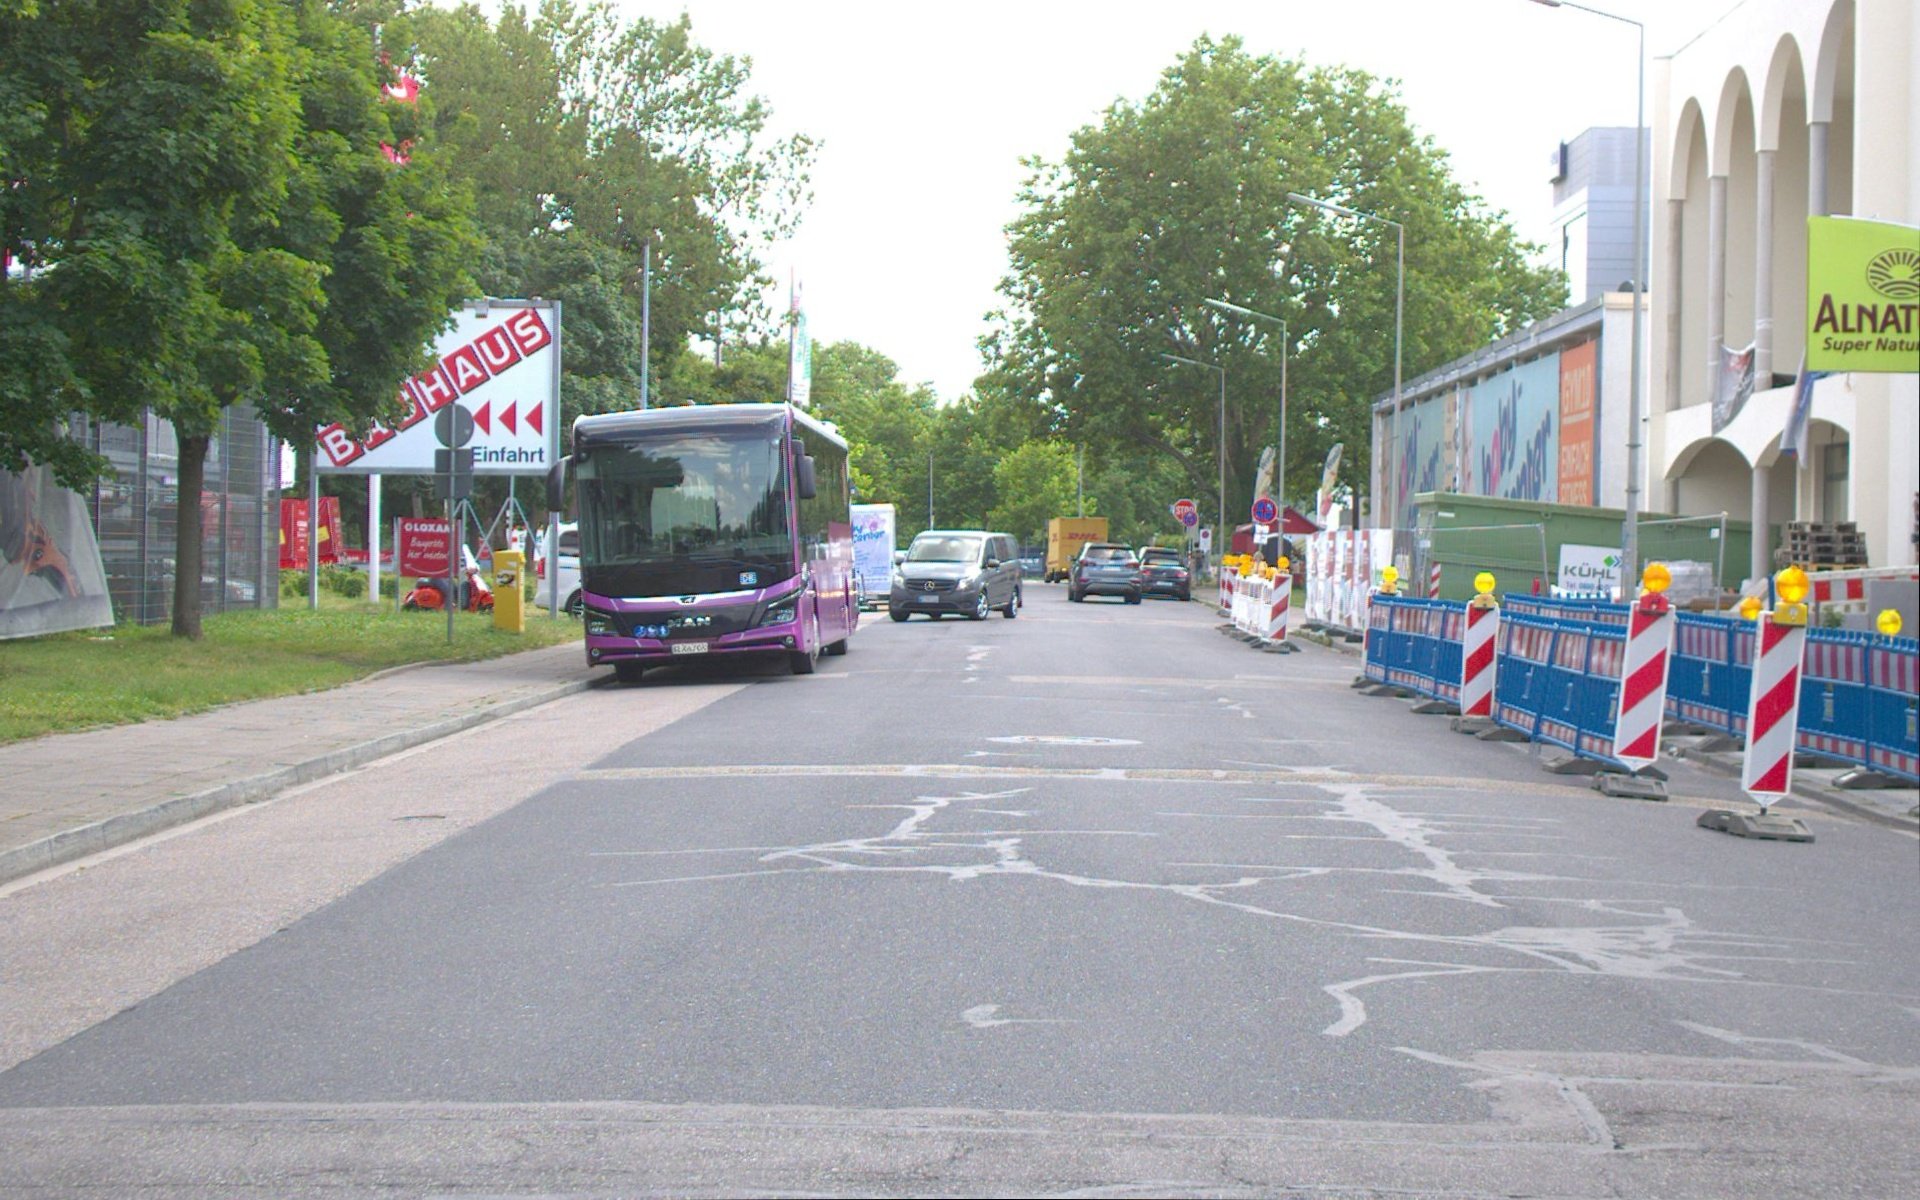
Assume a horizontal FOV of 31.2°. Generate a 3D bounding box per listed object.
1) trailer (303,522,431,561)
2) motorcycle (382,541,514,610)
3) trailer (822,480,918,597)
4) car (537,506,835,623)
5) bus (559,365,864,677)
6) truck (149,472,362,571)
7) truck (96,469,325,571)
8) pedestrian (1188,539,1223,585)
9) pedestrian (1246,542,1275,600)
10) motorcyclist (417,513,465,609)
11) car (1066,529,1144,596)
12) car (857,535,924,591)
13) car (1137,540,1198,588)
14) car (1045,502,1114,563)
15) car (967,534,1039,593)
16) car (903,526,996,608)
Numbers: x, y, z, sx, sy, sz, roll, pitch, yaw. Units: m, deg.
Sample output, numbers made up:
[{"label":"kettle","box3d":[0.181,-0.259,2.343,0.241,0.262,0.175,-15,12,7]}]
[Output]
[{"label":"trailer","box3d":[-19.594,-1.928,113.726,3.818,1.186,1.714,1,2,7]},{"label":"motorcycle","box3d":[-9.282,-0.452,62.363,2.221,1.209,0.994,1,1,2]},{"label":"trailer","box3d":[-2.197,-1.536,85.344,2.139,2.773,4.703,-1,1,1]},{"label":"car","box3d":[-4.889,-0.654,61.716,5.002,1.942,1.992,1,1,7]},{"label":"bus","box3d":[-2.990,-1.016,45.443,2.663,3.411,13.218,-2,1,1]},{"label":"truck","box3d":[-19.858,-2.208,97.024,5.548,2.585,1.779,1,-1,2]},{"label":"truck","box3d":[-20.431,-2.182,93.850,5.755,2.585,1.815,1,-1,4]},{"label":"pedestrian","box3d":[9.933,-1.538,139.145,1.000,1.843,1.230,1,1,-16]},{"label":"pedestrian","box3d":[8.067,-0.773,92.295,0.681,1.528,1.130,1,1,1]},{"label":"motorcyclist","box3d":[-9.419,-0.711,62.369,0.674,1.717,0.994,1,1,2]},{"label":"car","box3d":[4.100,-1.083,97.889,1.962,1.809,4.276,1,1,-1]},{"label":"car","box3d":[-1.922,-1.045,96.135,1.765,1.474,4.235,-1,1,0]},{"label":"car","box3d":[6.678,-1.183,110.742,1.808,1.386,4.588,4,1,3]},{"label":"car","box3d":[5.163,-2.935,149.198,2.198,2.569,6.406,1,1,-5]},{"label":"car","box3d":[1.132,-0.962,88.908,1.796,1.454,4.385,0,1,1]},{"label":"car","box3d":[-0.202,-0.709,71.918,1.868,1.624,4.127,1,1,0]}]
